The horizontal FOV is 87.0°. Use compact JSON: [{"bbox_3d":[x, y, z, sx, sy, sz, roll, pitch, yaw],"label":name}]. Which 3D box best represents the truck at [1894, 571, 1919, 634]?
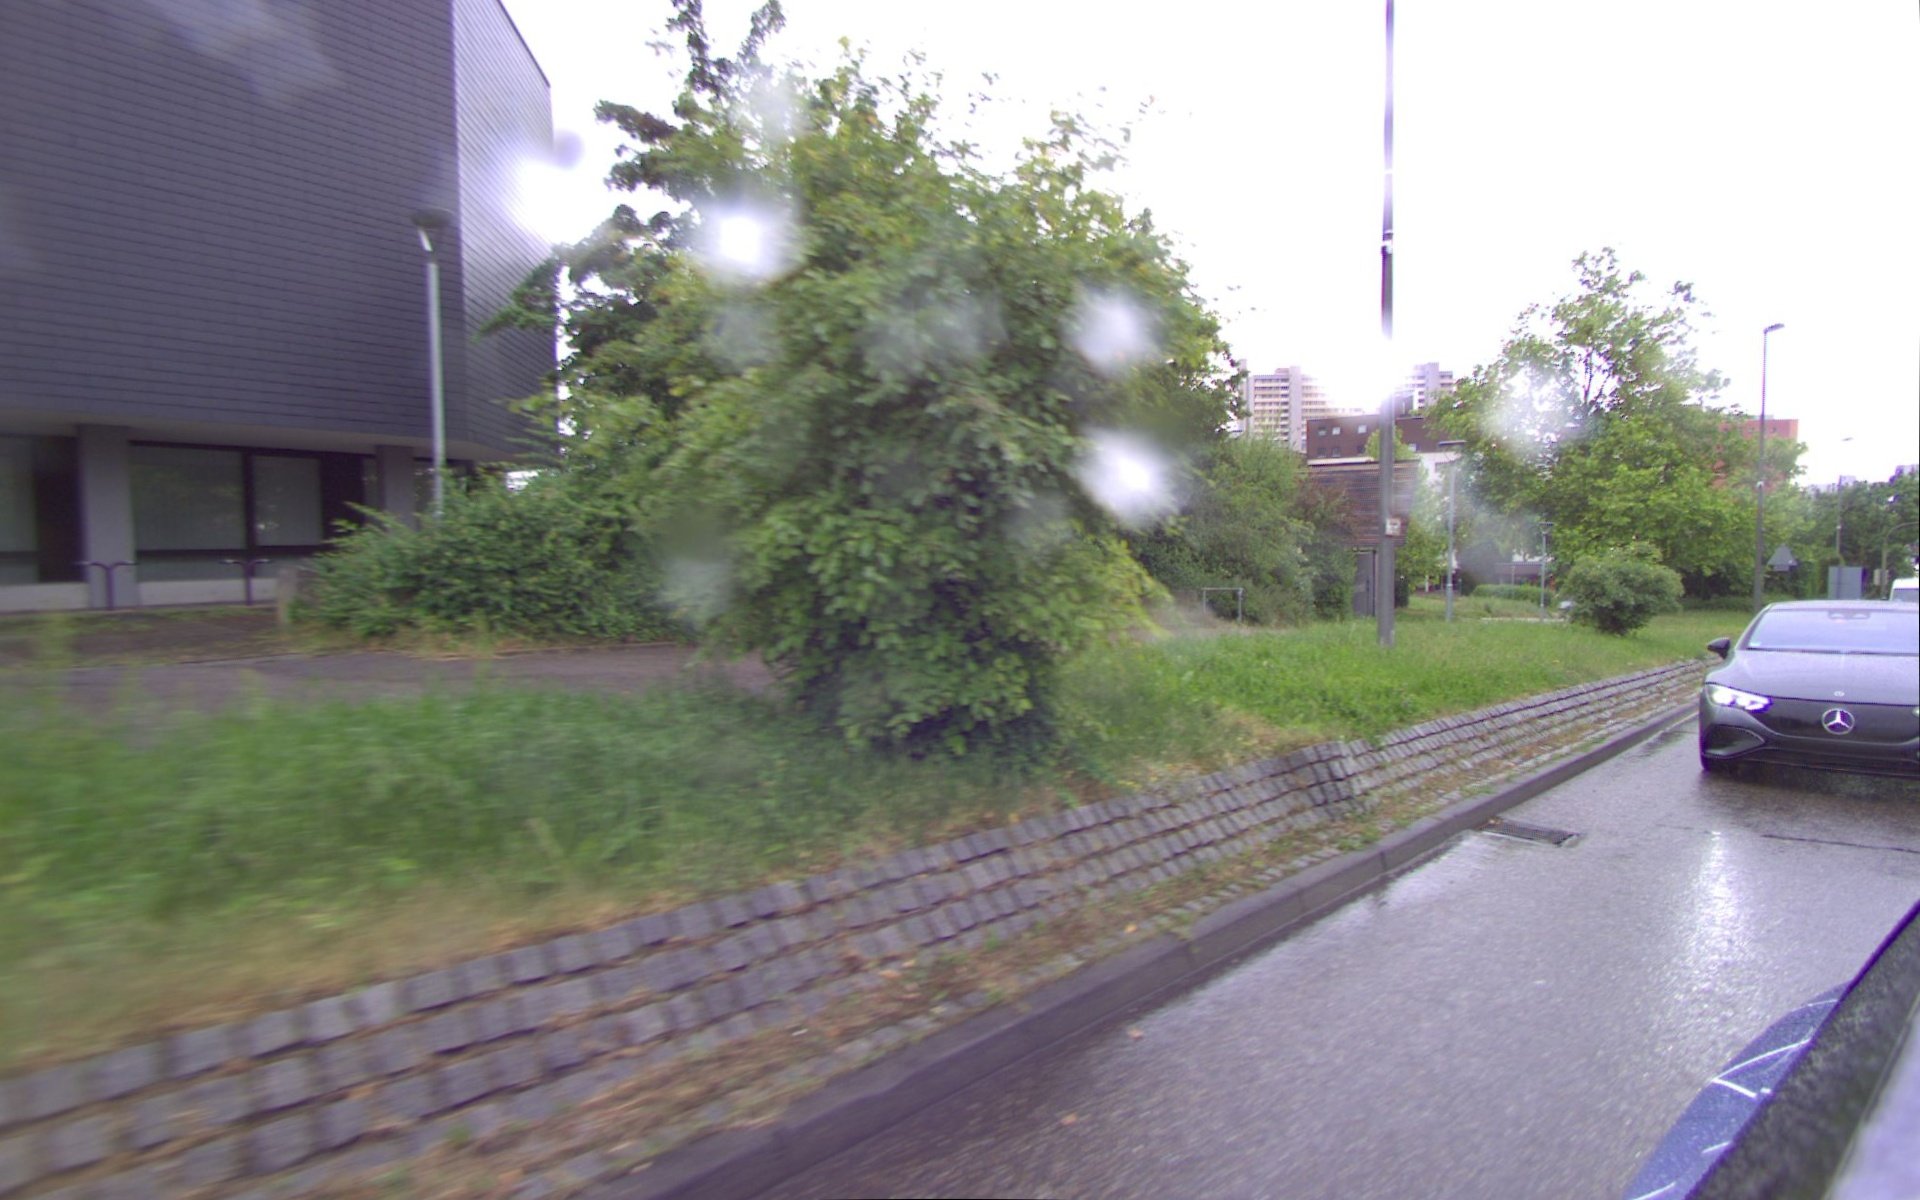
[{"bbox_3d":[39.865,0.040,41.178,6.094,2.469,2.167,-1,2,-42],"label":"truck"}]

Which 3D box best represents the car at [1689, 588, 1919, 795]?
[{"bbox_3d":[8.271,0.647,9.222,4.475,1.462,1.833,-1,1,-43],"label":"car"}]

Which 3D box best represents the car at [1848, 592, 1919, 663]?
[{"bbox_3d":[21.224,0.558,22.549,3.967,1.415,1.716,-1,1,-42],"label":"car"}]

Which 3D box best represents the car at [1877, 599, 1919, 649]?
[{"bbox_3d":[29.383,0.701,30.867,3.671,1.394,1.716,-1,1,-42],"label":"car"}]
